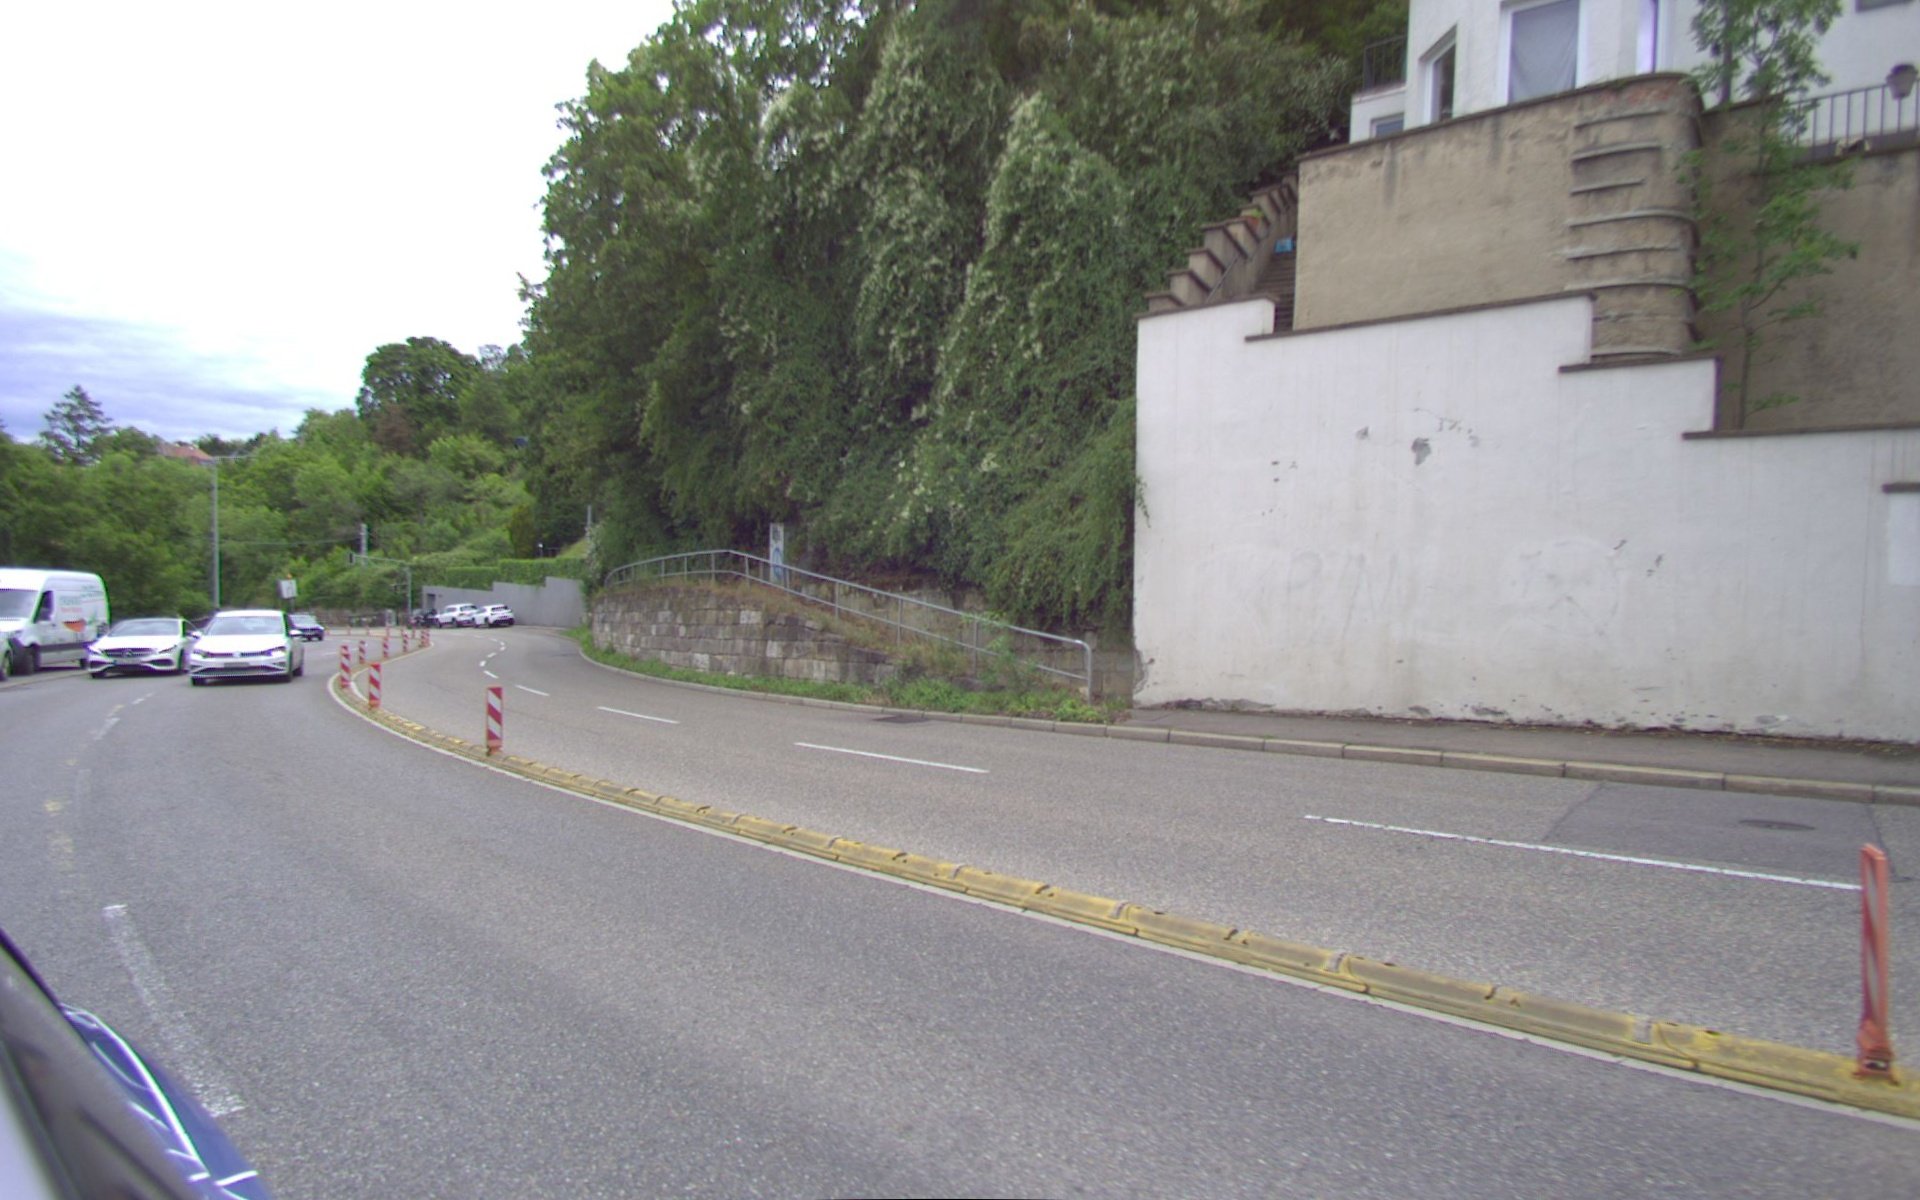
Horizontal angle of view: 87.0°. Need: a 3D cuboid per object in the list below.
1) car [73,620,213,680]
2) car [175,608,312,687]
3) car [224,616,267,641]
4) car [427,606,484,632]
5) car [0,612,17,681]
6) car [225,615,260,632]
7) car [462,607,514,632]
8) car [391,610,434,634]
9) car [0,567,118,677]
[{"bbox_3d":[-20.396,1.217,25.460,1.768,1.316,4.114,-2,-1,-25],"label":"car"},{"bbox_3d":[-15.800,0.999,22.532,1.854,1.590,4.013,1,-1,-26],"label":"car"},{"bbox_3d":[-53.311,2.104,75.504,1.971,1.718,4.003,-4,2,-44],"label":"car"},{"bbox_3d":[-37.552,1.419,75.307,4.755,1.744,1.842,-1,2,38],"label":"car"},{"bbox_3d":[-20.818,0.982,20.469,1.677,1.475,3.847,1,-1,-30],"label":"car"},{"bbox_3d":[-66.912,2.176,94.365,3.656,1.477,1.694,-2,1,39],"label":"car"},{"bbox_3d":[-33.372,1.347,71.498,1.812,1.584,4.478,-4,2,-45],"label":"car"},{"bbox_3d":[-42.139,1.681,77.888,2.952,1.584,1.696,-3,3,37],"label":"car"},{"bbox_3d":[-23.897,0.531,25.757,2.055,2.542,5.863,2,-2,-23],"label":"car"}]
